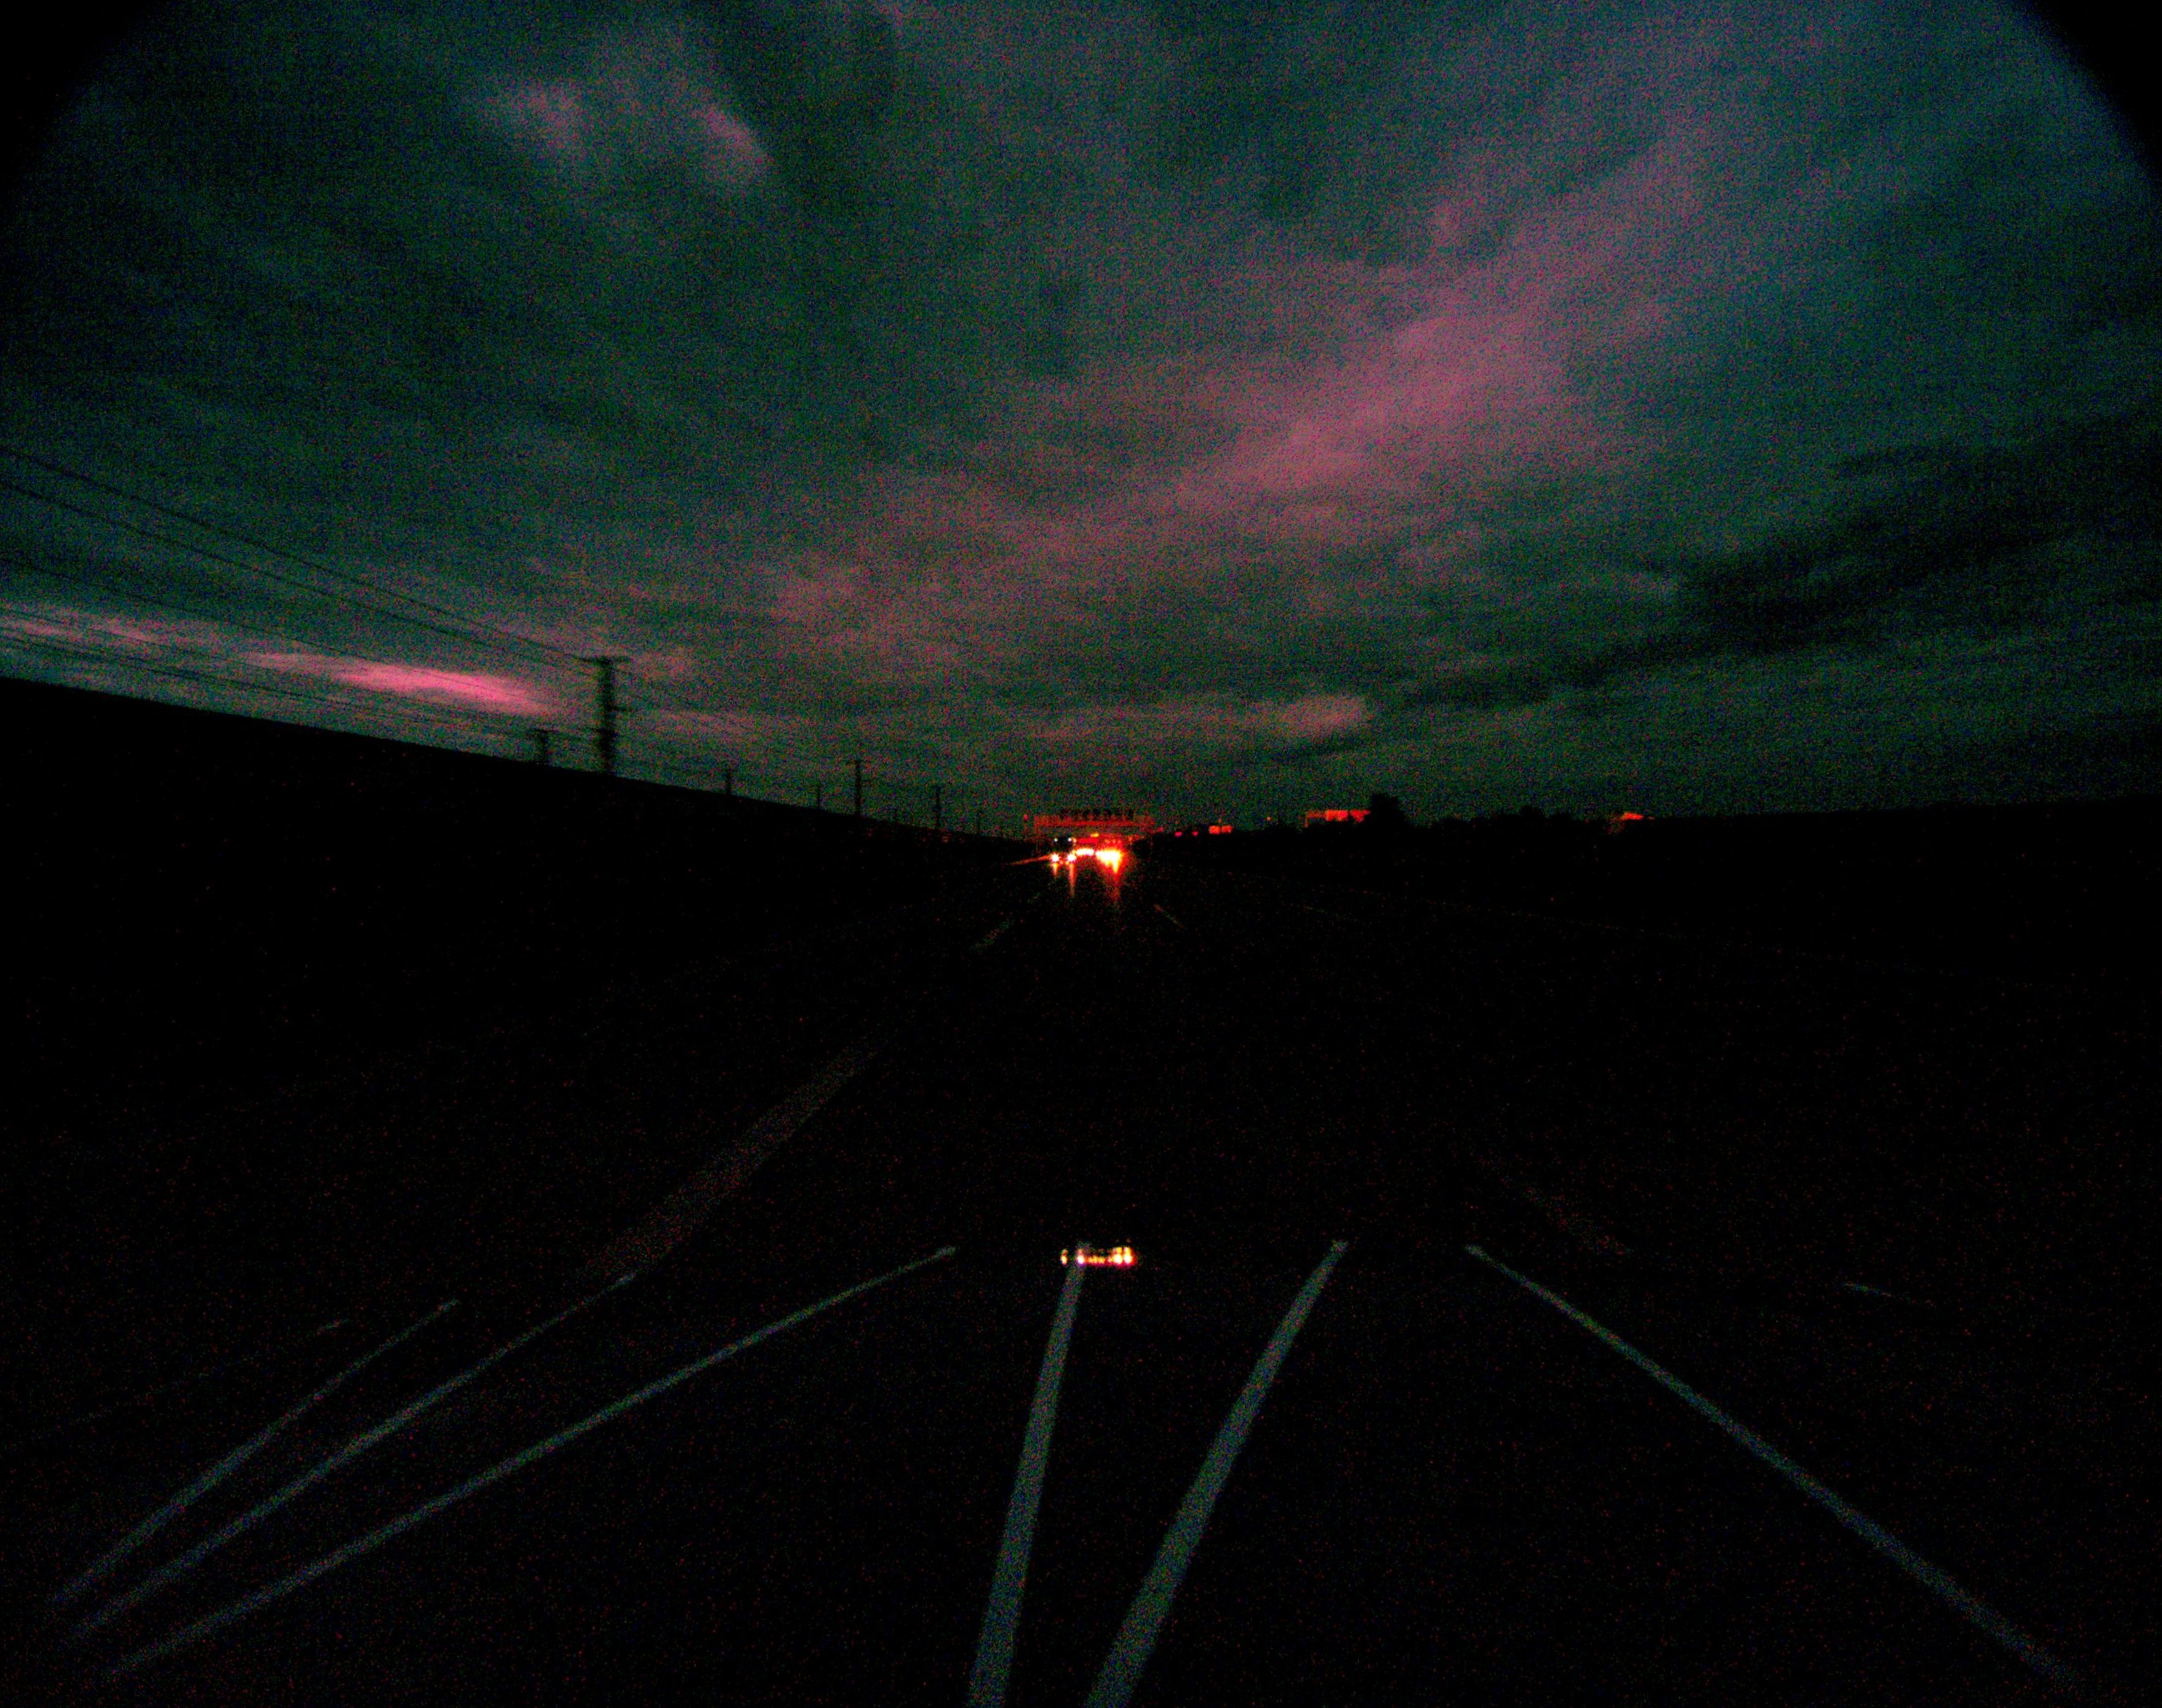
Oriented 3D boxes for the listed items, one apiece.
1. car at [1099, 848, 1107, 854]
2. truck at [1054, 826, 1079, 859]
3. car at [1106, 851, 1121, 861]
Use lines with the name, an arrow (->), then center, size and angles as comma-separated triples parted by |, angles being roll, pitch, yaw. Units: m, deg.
car -> 5.520, -0.777, 193.805 | 1.998, 1.342, 4.175 | -1, 0, 1
truck -> -1.880, -1.416, 102.445 | 3.060, 4.046, 10.522 | 1, -1, 0
car -> 4.977, 0.280, 116.603 | 1.999, 1.341, 4.174 | 4, 0, -2
